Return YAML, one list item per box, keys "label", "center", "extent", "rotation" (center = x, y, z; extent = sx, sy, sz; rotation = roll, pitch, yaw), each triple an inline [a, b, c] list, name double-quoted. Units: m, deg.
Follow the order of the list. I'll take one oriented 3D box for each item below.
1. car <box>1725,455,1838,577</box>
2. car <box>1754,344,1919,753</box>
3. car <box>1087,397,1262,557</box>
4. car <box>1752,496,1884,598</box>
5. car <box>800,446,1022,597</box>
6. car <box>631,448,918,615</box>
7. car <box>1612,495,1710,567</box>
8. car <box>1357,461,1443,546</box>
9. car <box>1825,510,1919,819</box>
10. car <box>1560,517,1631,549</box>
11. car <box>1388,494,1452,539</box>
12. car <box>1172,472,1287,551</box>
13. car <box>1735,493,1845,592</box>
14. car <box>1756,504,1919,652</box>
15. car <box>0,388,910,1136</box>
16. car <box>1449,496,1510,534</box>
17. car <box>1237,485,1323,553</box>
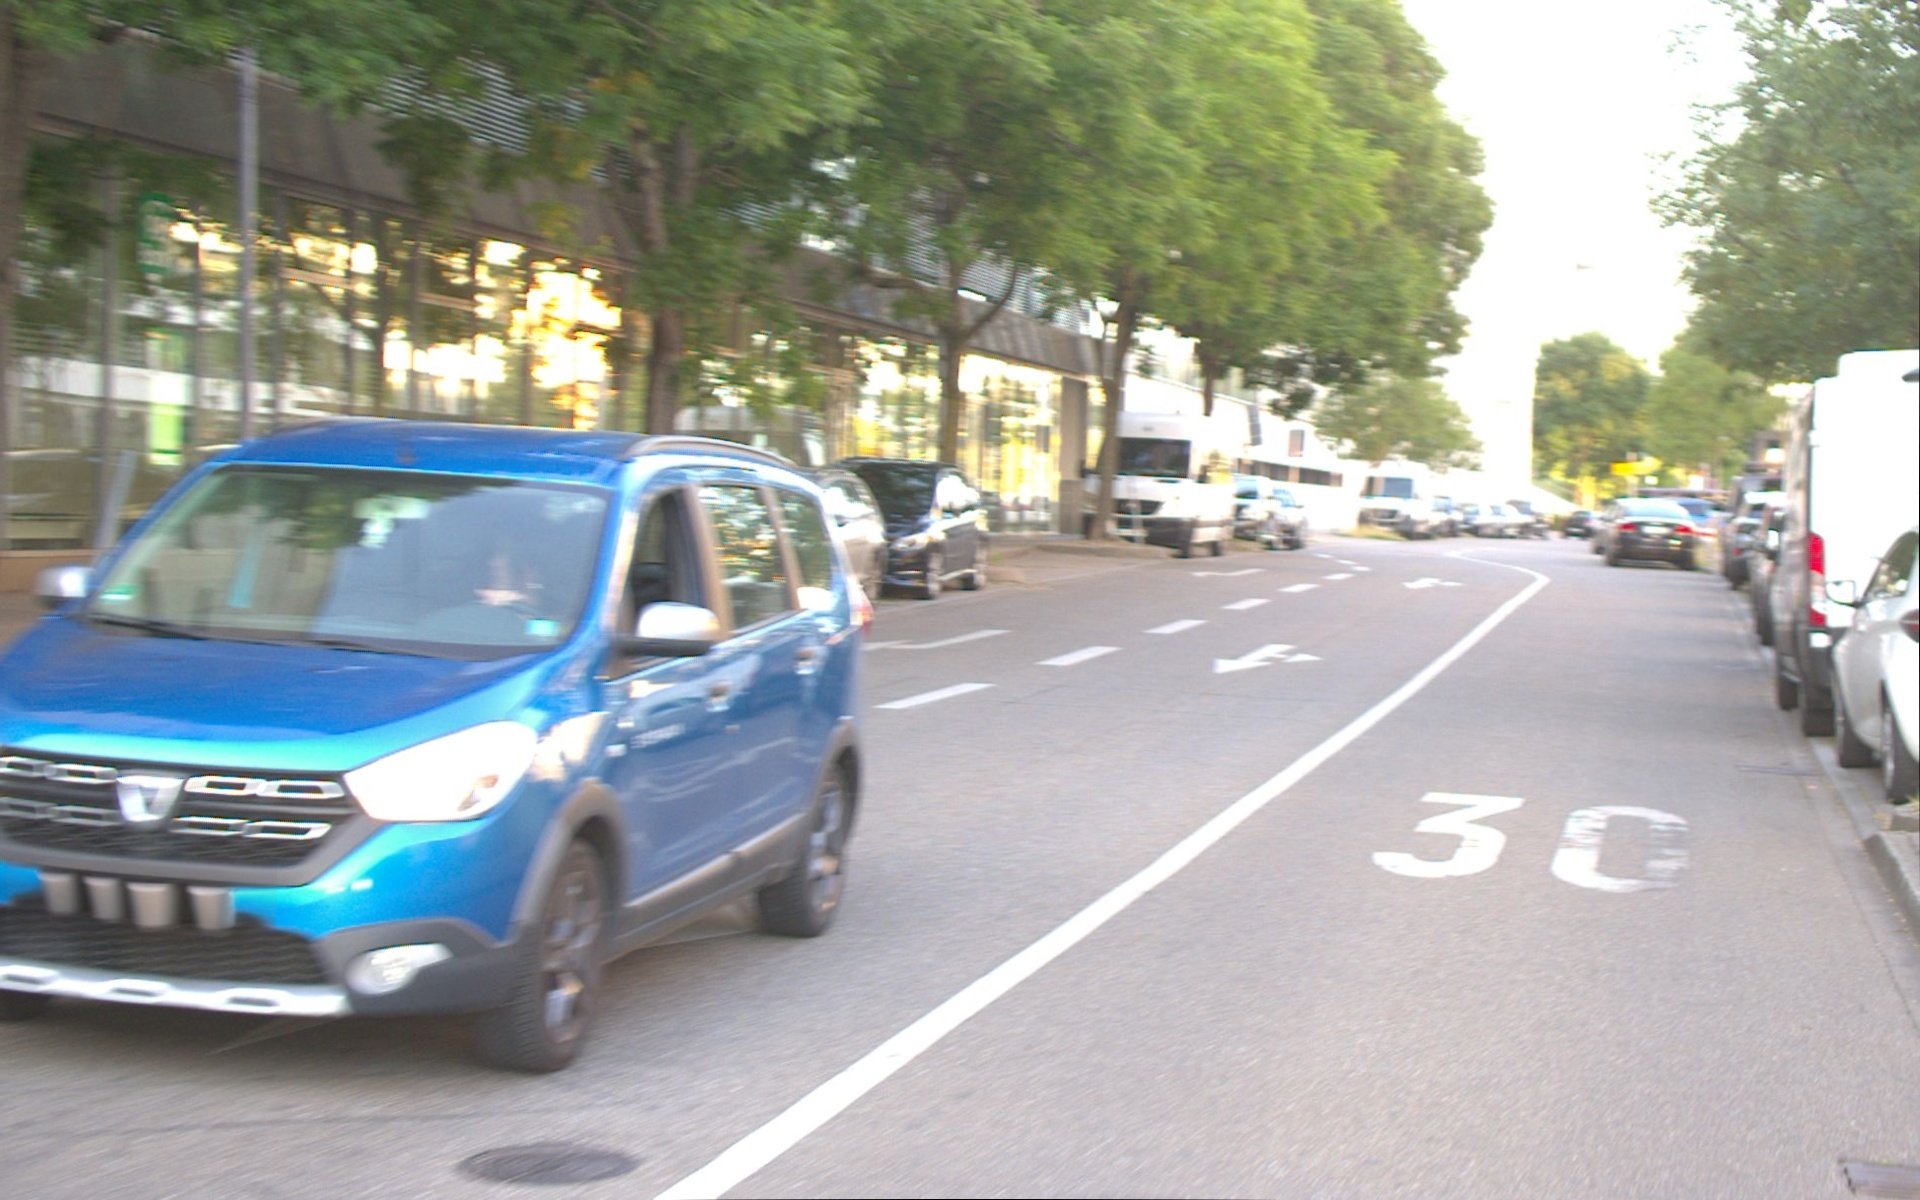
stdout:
- label: "car"
  center: [15.101, -1.553, 63.388]
  extent: [1.805, 2.169, 4.734]
  rotation: [0, 1, 11]
- label: "car"
  center: [6.974, -0.417, 24.935]
  extent: [2.052, 2.648, 5.432]
  rotation: [-1, 1, 10]
- label: "car"
  center: [3.965, -2.210, 62.243]
  extent: [2.101, 2.654, 6.948]
  rotation: [2, 2, 12]
- label: "car"
  center: [13.000, -0.829, 52.253]
  extent: [1.708, 1.488, 4.129]
  rotation: [0, 1, 11]
- label: "car"
  center: [-0.513, -0.949, 40.619]
  extent: [1.591, 1.563, 4.469]
  rotation: [5, 3, 11]
- label: "car"
  center: [-1.811, -0.724, 35.154]
  extent: [1.704, 1.456, 4.625]
  rotation: [5, 3, 11]
- label: "car"
  center: [15.009, -1.503, 73.747]
  extent: [1.788, 1.447, 4.514]
  rotation: [2, 2, 9]
- label: "car"
  center: [14.601, -3.204, 113.836]
  extent: [1.959, 2.608, 6.889]
  rotation: [4, 3, 13]
- label: "car"
  center: [5.981, 0.274, 19.567]
  extent: [1.748, 1.578, 4.011]
  rotation: [-1, 1, 10]
- label: "car"
  center: [30.020, -3.155, 162.347]
  extent: [1.947, 1.378, 4.392]
  rotation: [5, 3, 28]
- label: "car"
  center: [16.085, -2.924, 120.184]
  extent: [1.757, 1.434, 3.899]
  rotation: [4, 3, 13]
- label: "car"
  center: [5.763, -1.884, 73.081]
  extent: [1.845, 1.566, 4.265]
  rotation: [2, 2, 12]
- label: "car"
  center: [13.826, -0.983, 57.374]
  extent: [1.708, 1.575, 4.476]
  rotation: [0, 1, 13]
- label: "car"
  center: [9.705, -0.285, 37.852]
  extent: [1.797, 1.491, 4.778]
  rotation: [-1, 1, 13]
- label: "car"
  center: [-1.515, 0.299, 10.154]
  extent: [1.749, 1.672, 4.271]
  rotation: [3, 2, 12]
- label: "car"
  center: [21.605, -3.518, 142.794]
  extent: [1.724, 1.452, 4.268]
  rotation: [5, 3, 18]
- label: "car"
  center: [7.322, -1.857, 78.398]
  extent: [1.715, 1.447, 4.398]
  rotation: [2, 2, 8]
